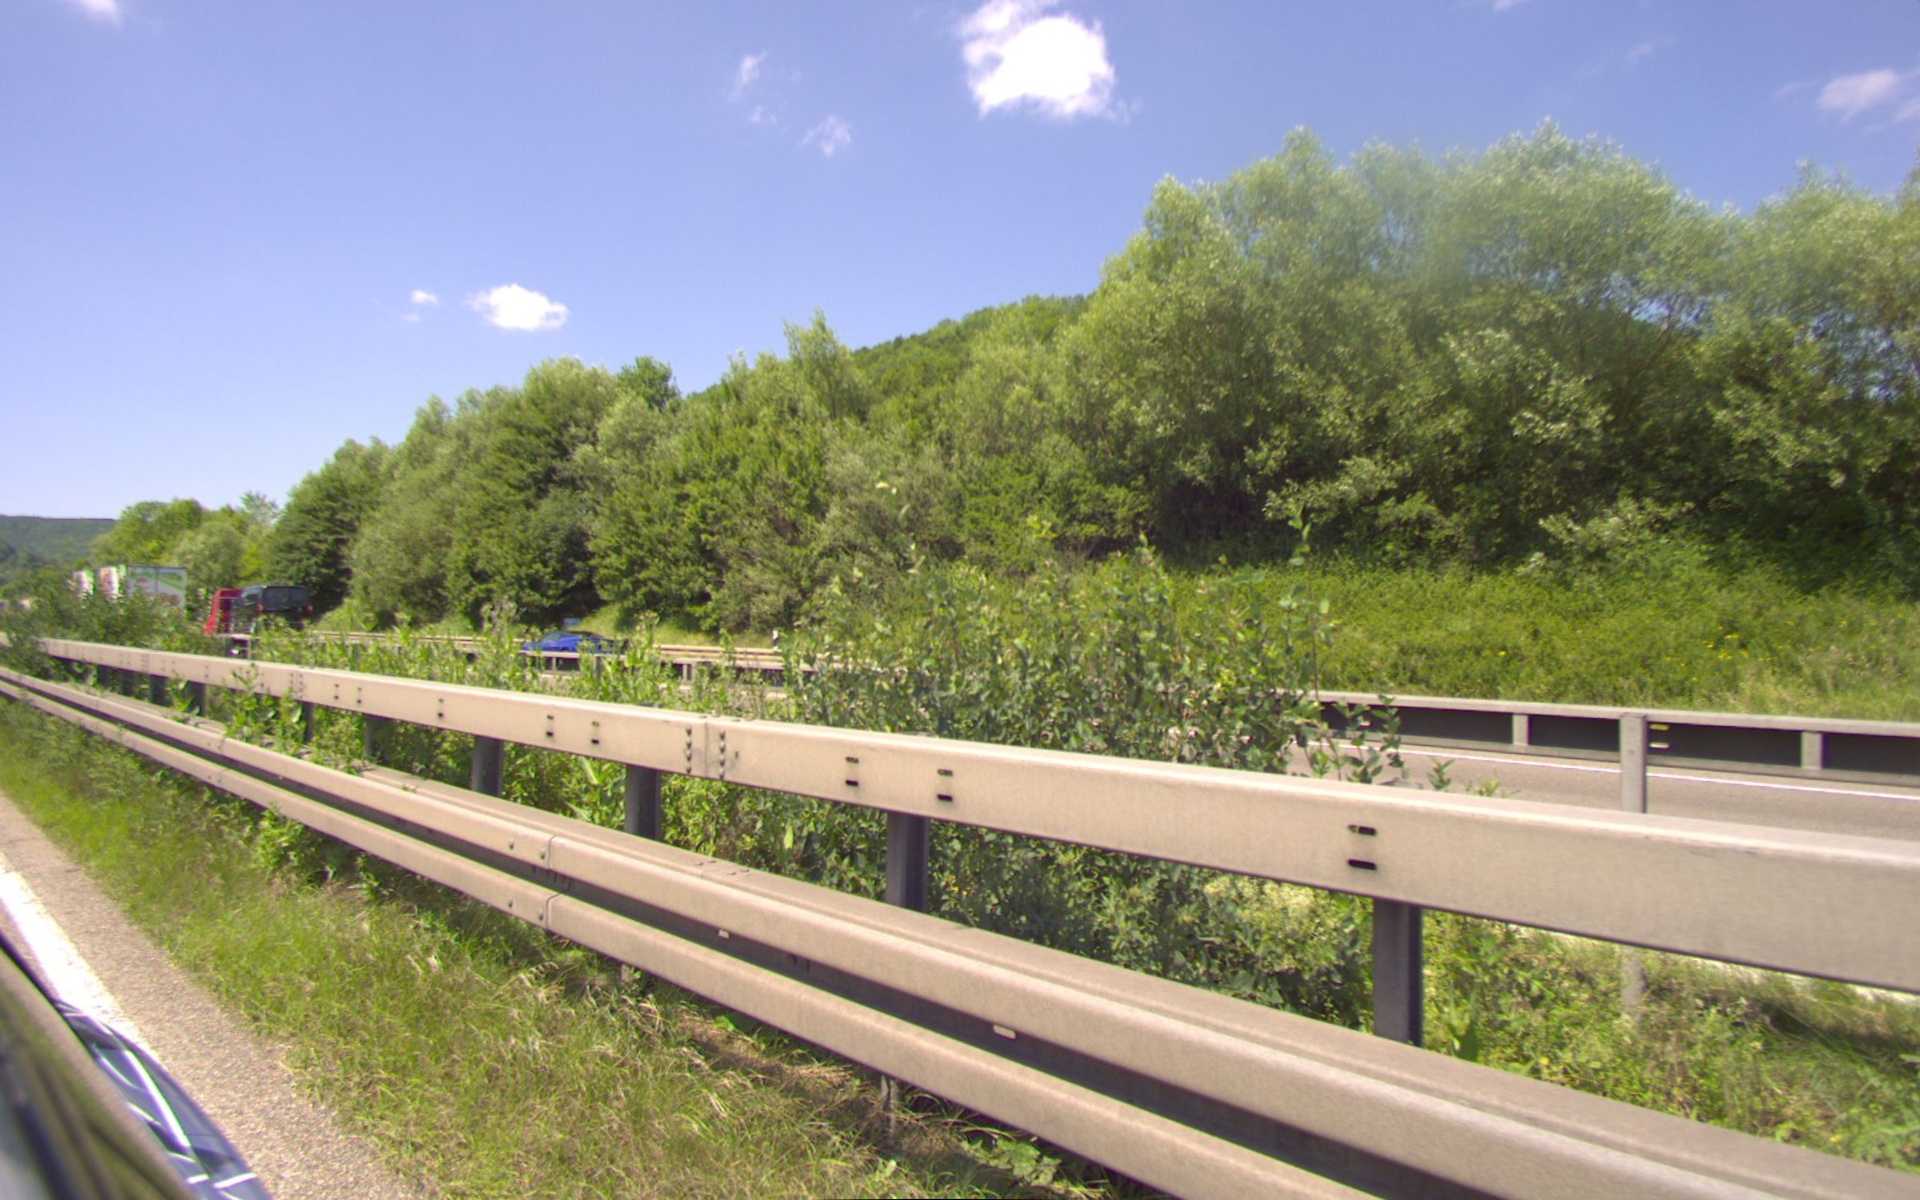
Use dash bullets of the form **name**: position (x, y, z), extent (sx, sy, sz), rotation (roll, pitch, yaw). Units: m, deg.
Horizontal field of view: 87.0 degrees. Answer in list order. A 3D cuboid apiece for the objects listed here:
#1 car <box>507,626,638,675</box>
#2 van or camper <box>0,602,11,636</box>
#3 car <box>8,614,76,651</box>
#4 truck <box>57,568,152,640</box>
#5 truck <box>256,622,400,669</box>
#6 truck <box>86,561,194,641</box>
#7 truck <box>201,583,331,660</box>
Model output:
- **car**: position (-11.883, 1.485, 30.912), extent (4.103, 1.366, 1.974), rotation (-1, -1, 39)
- **van or camper**: position (-99.034, 1.922, 103.048), extent (7.641, 3.361, 2.564), rotation (-1, -2, 40)
- **car**: position (-41.415, 1.452, 45.634), extent (3.997, 1.611, 1.759), rotation (-1, -2, 40)
- **truck**: position (-51.773, 0.325, 61.149), extent (10.165, 4.037, 2.839), rotation (-1, -1, 41)
- **truck**: position (-20.479, 1.381, 32.601), extent (7.009, 1.344, 2.185), rotation (-1, -2, 43)
- **truck**: position (-44.519, 0.129, 54.823), extent (9.026, 4.011, 2.839), rotation (-1, -3, 41)
- **truck**: position (-25.993, 0.798, 37.719), extent (7.967, 2.608, 2.271), rotation (-1, -2, 43)
